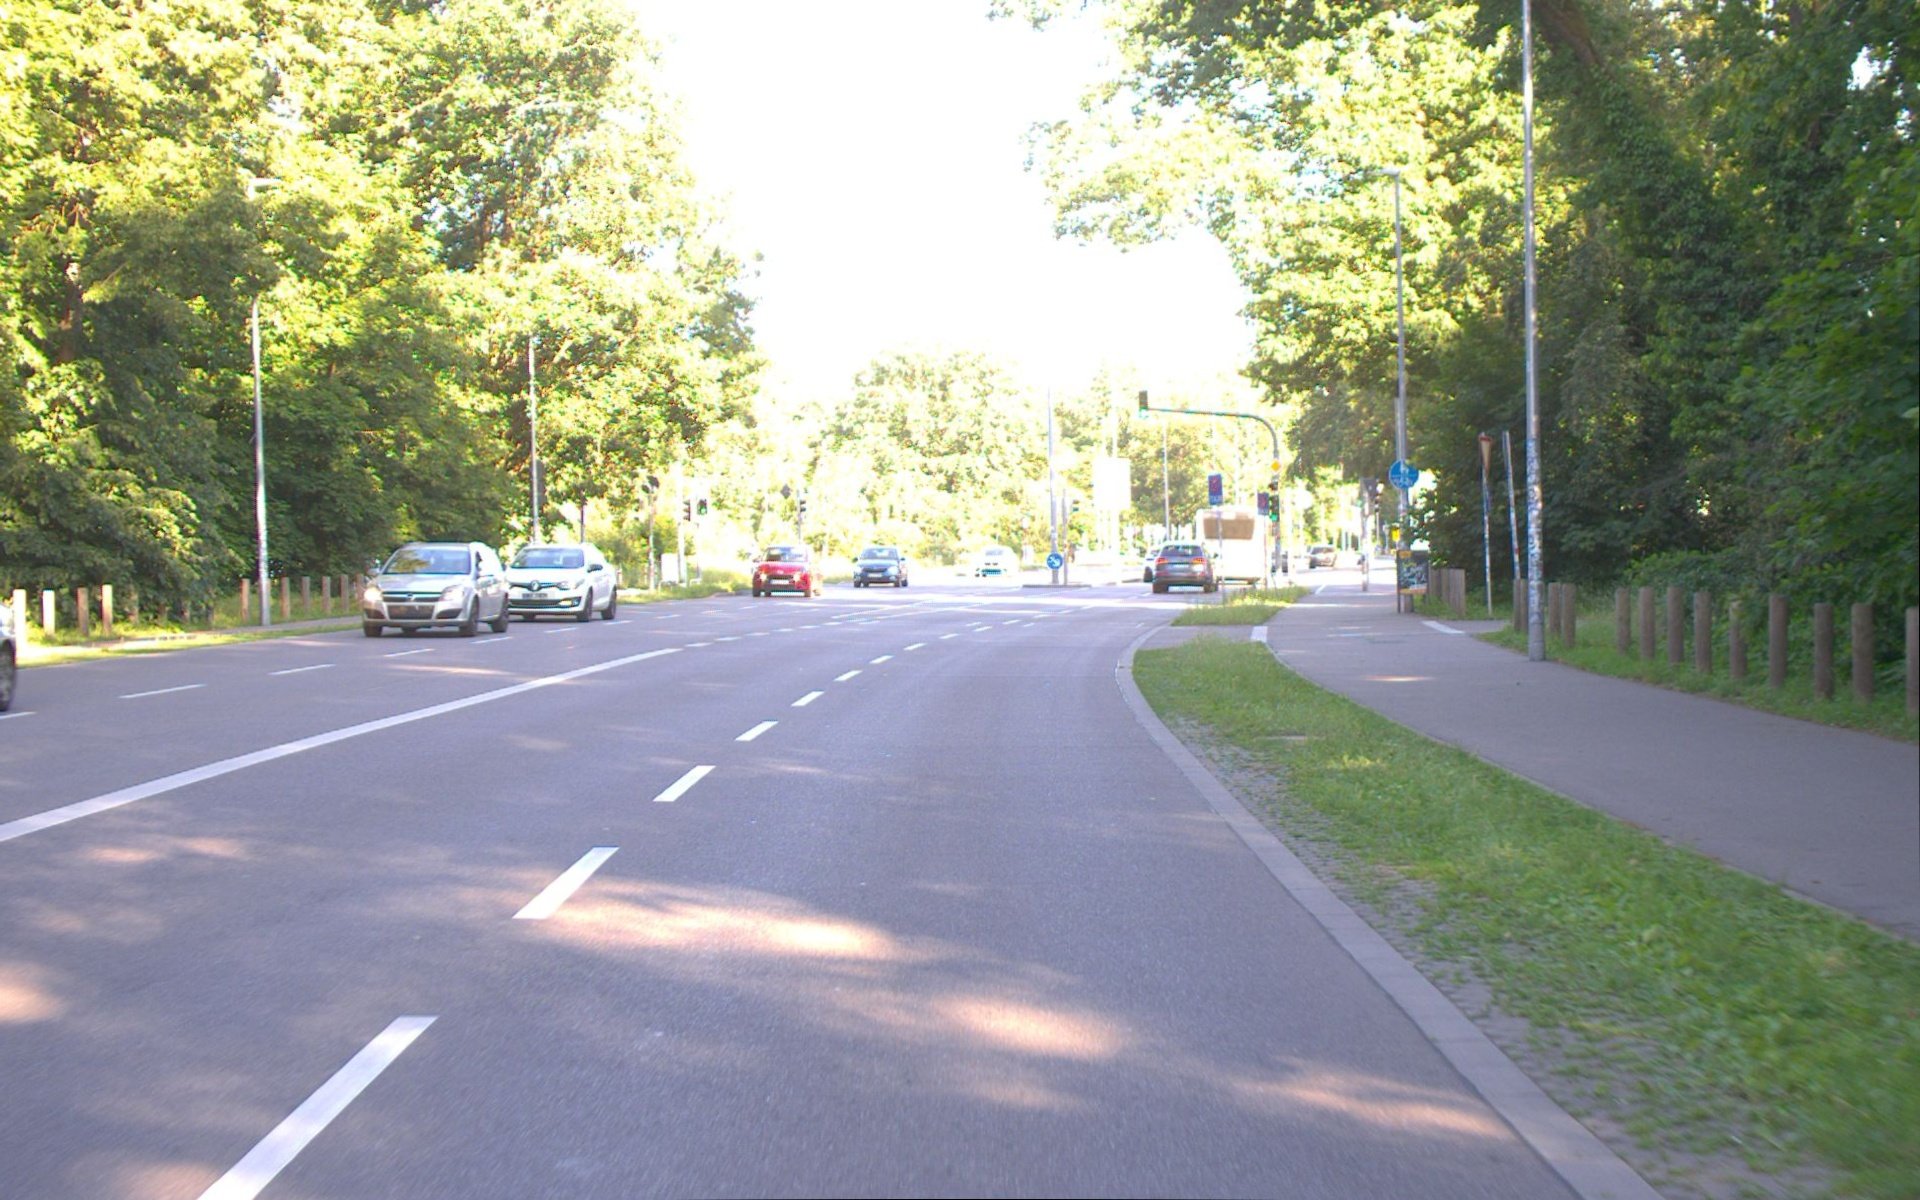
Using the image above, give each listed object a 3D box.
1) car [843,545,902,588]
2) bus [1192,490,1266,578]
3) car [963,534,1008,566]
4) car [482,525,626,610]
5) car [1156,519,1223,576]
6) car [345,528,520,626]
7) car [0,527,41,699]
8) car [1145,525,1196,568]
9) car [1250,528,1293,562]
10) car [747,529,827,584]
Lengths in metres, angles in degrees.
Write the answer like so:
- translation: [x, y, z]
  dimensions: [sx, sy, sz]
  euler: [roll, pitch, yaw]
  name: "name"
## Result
- translation: [-3.154, -1.213, 124.485]
  dimensions: [1.656, 1.503, 3.999]
  euler: [-1, 1, 5]
  name: "car"
- translation: [10.574, -2.597, 134.545]
  dimensions: [2.606, 3.357, 7.974]
  euler: [0, 1, 7]
  name: "bus"
- translation: [1.205, -2.357, 162.861]
  dimensions: [1.711, 1.459, 4.100]
  euler: [1, 1, 6]
  name: "car"
- translation: [-7.570, -0.644, 64.411]
  dimensions: [1.783, 1.517, 4.397]
  euler: [0, 1, 5]
  name: "car"
- translation: [7.331, -1.680, 109.590]
  dimensions: [1.880, 1.759, 3.999]
  euler: [-1, 1, 7]
  name: "car"
- translation: [-8.267, -0.384, 54.222]
  dimensions: [1.780, 1.459, 4.274]
  euler: [1, 1, 5]
  name: "car"
- translation: [-8.865, 0.155, 27.373]
  dimensions: [1.779, 1.403, 4.165]
  euler: [0, 2, 3]
  name: "car"
- translation: [8.893, -2.280, 144.899]
  dimensions: [1.880, 1.759, 3.999]
  euler: [-1, 1, 7]
  name: "car"
- translation: [16.496, -2.921, 181.965]
  dimensions: [1.864, 1.678, 3.771]
  euler: [-1, 1, 11]
  name: "car"
- translation: [-4.933, -1.254, 98.519]
  dimensions: [1.663, 1.513, 3.806]
  euler: [-1, 1, 7]
  name: "car"
